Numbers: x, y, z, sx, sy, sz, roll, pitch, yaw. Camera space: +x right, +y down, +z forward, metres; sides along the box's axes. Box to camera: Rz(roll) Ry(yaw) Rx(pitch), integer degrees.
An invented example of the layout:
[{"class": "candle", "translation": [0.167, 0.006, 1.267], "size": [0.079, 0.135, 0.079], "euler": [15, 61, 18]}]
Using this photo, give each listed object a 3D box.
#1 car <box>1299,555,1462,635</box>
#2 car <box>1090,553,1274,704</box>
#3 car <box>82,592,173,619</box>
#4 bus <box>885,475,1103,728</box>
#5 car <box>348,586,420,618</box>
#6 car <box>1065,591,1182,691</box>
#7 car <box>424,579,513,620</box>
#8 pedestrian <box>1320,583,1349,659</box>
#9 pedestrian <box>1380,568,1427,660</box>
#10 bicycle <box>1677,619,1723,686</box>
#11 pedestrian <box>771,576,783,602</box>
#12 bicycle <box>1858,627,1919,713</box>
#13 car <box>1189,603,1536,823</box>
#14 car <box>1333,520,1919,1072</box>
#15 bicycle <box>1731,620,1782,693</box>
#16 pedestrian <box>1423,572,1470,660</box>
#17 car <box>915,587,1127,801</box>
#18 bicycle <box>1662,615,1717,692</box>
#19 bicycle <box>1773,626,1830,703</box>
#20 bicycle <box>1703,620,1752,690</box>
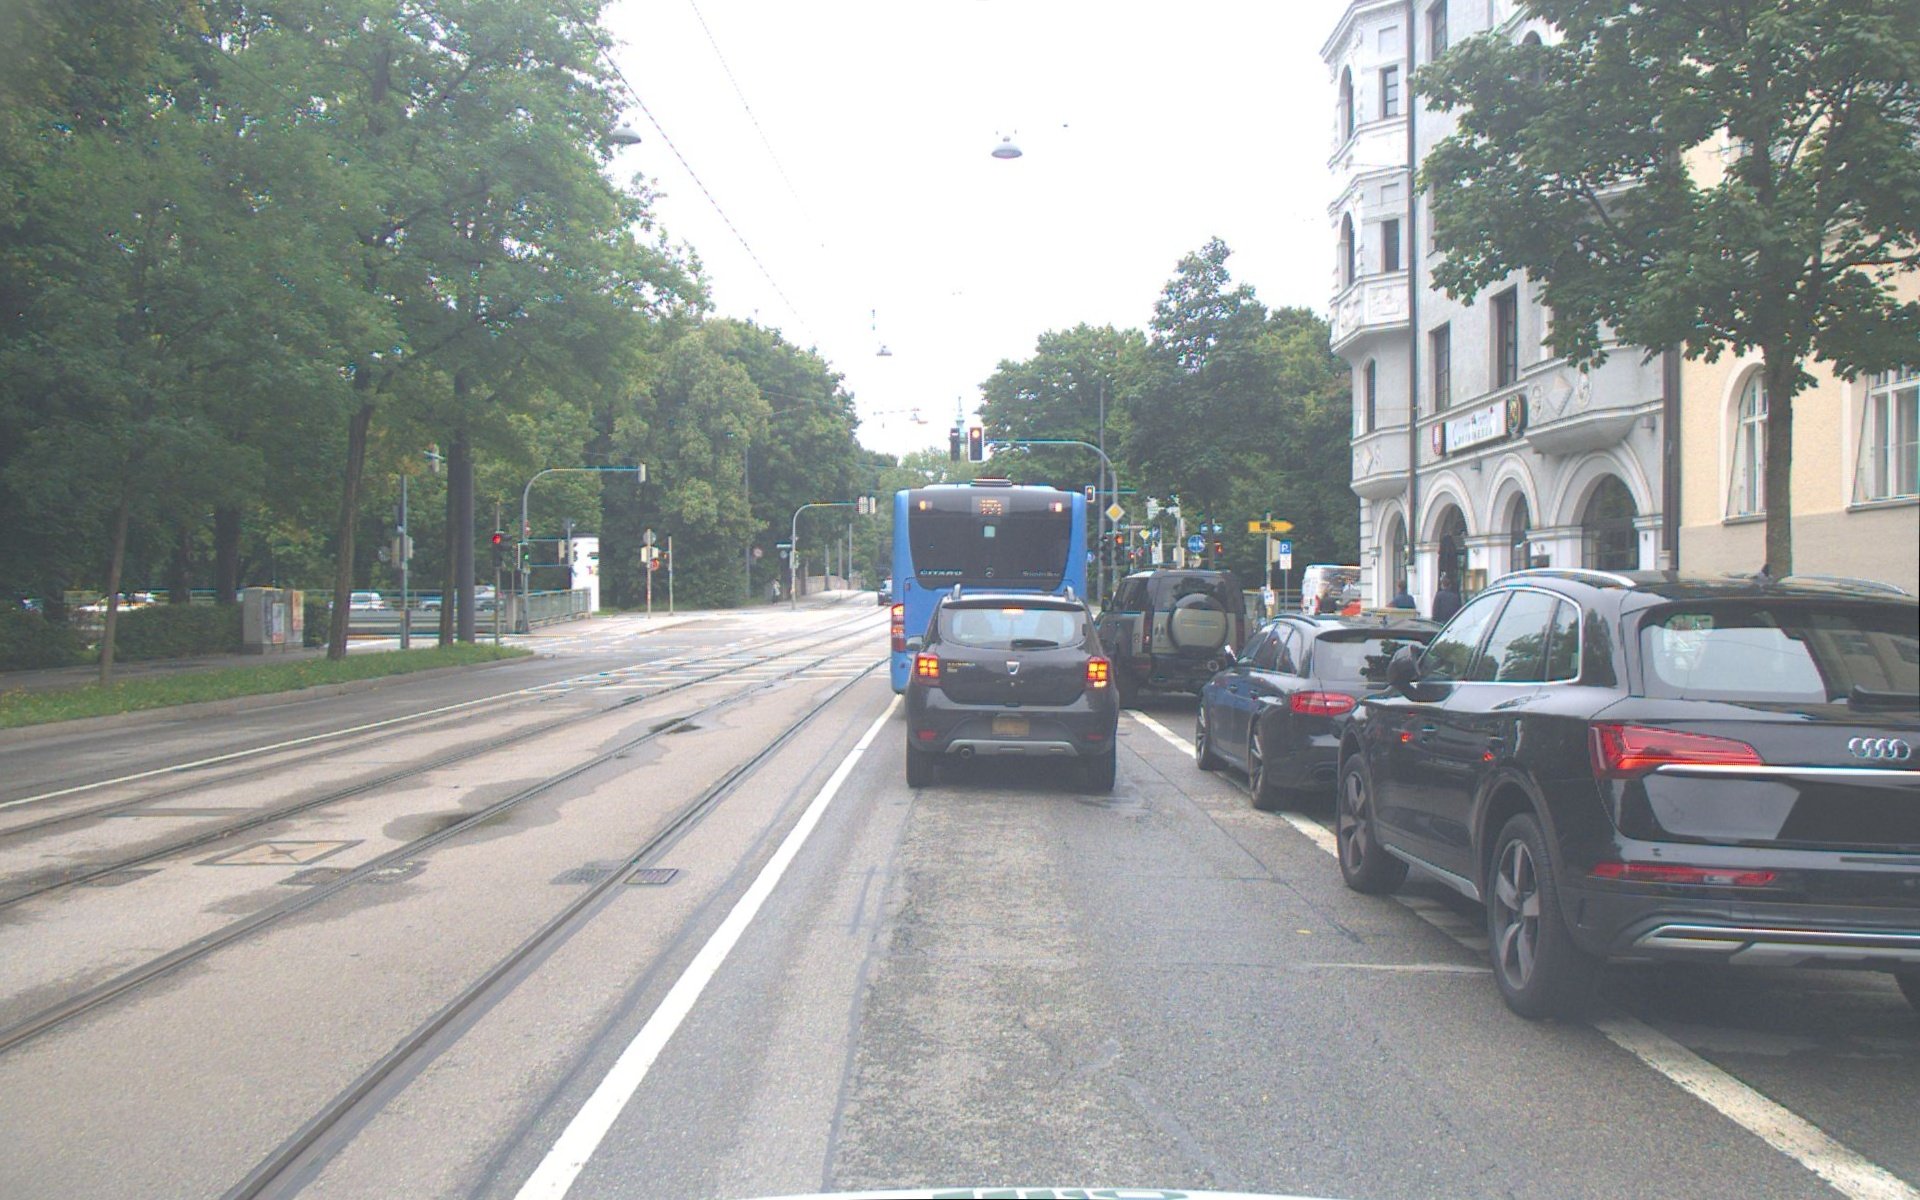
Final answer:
[{"class": "car", "translation": [14.972, -0.172, 59.038], "size": [5.189, 2.658, 2.230], "euler": [1, 0, -3]}, {"class": "car", "translation": [3.108, 0.375, 24.174], "size": [1.875, 1.939, 4.806], "euler": [1, 0, -2]}, {"class": "car", "translation": [-40.122, 0.260, 79.736], "size": [3.655, 1.206, 1.249], "euler": [1, 0, -5]}, {"class": "bus", "translation": [0.337, 0.018, 23.858], "size": [2.624, 3.050, 6.959], "euler": [1, 0, -1]}, {"class": "car", "translation": [-28.080, 0.086, 80.645], "size": [3.049, 1.477, 1.249], "euler": [1, 0, -5]}, {"class": "car", "translation": [2.872, 0.685, 29.761], "size": [1.679, 1.619, 4.327], "euler": [1, 0, 0]}, {"class": "car", "translation": [-24.047, -0.029, 81.006], "size": [3.945, 1.920, 1.488], "euler": [1, 0, -6]}, {"class": "pedestrian", "translation": [10.258, 0.575, 45.327], "size": [0.658, 2.049, 0.717], "euler": [1, 0, 8]}, {"class": "pedestrian", "translation": [9.080, 0.290, 33.874], "size": [0.690, 1.848, 0.870], "euler": [1, 0, 0]}, {"class": "bicycle", "translation": [10.851, 0.767, 24.277], "size": [0.284, 0.947, 0.886], "euler": [1, 0, 1]}, {"class": "pedestrian", "translation": [-10.846, -0.658, 98.057], "size": [0.520, 1.527, 0.588], "euler": [1, 0, 5]}, {"class": "bicycle", "translation": [10.724, 0.794, 19.081], "size": [0.217, 0.947, 0.885], "euler": [1, 0, -1]}, {"class": "car", "translation": [3.050, 0.768, 13.515], "size": [1.681, 1.451, 4.602], "euler": [1, 0, 0]}, {"class": "car", "translation": [3.006, 0.614, 7.345], "size": [1.738, 1.687, 4.488], "euler": [1, 0, 1]}, {"class": "bicycle", "translation": [10.751, 0.751, 22.347], "size": [0.267, 0.947, 0.886], "euler": [1, 0, 1]}, {"class": "pedestrian", "translation": [9.961, 0.329, 33.902], "size": [0.690, 1.762, 0.843], "euler": [1, 0, 0]}, {"class": "car", "translation": [0.460, 0.714, 14.300], "size": [1.568, 1.584, 3.525], "euler": [1, 0, 0]}, {"class": "bicycle", "translation": [10.434, 0.750, 23.690], "size": [0.237, 1.057, 1.223], "euler": [1, 0, 0]}, {"class": "bicycle", "translation": [10.684, 0.807, 21.010], "size": [0.279, 0.947, 0.886], "euler": [1, 0, 1]}, {"class": "bicycle", "translation": [10.815, 0.764, 23.316], "size": [0.299, 0.947, 0.886], "euler": [1, 0, 2]}]
